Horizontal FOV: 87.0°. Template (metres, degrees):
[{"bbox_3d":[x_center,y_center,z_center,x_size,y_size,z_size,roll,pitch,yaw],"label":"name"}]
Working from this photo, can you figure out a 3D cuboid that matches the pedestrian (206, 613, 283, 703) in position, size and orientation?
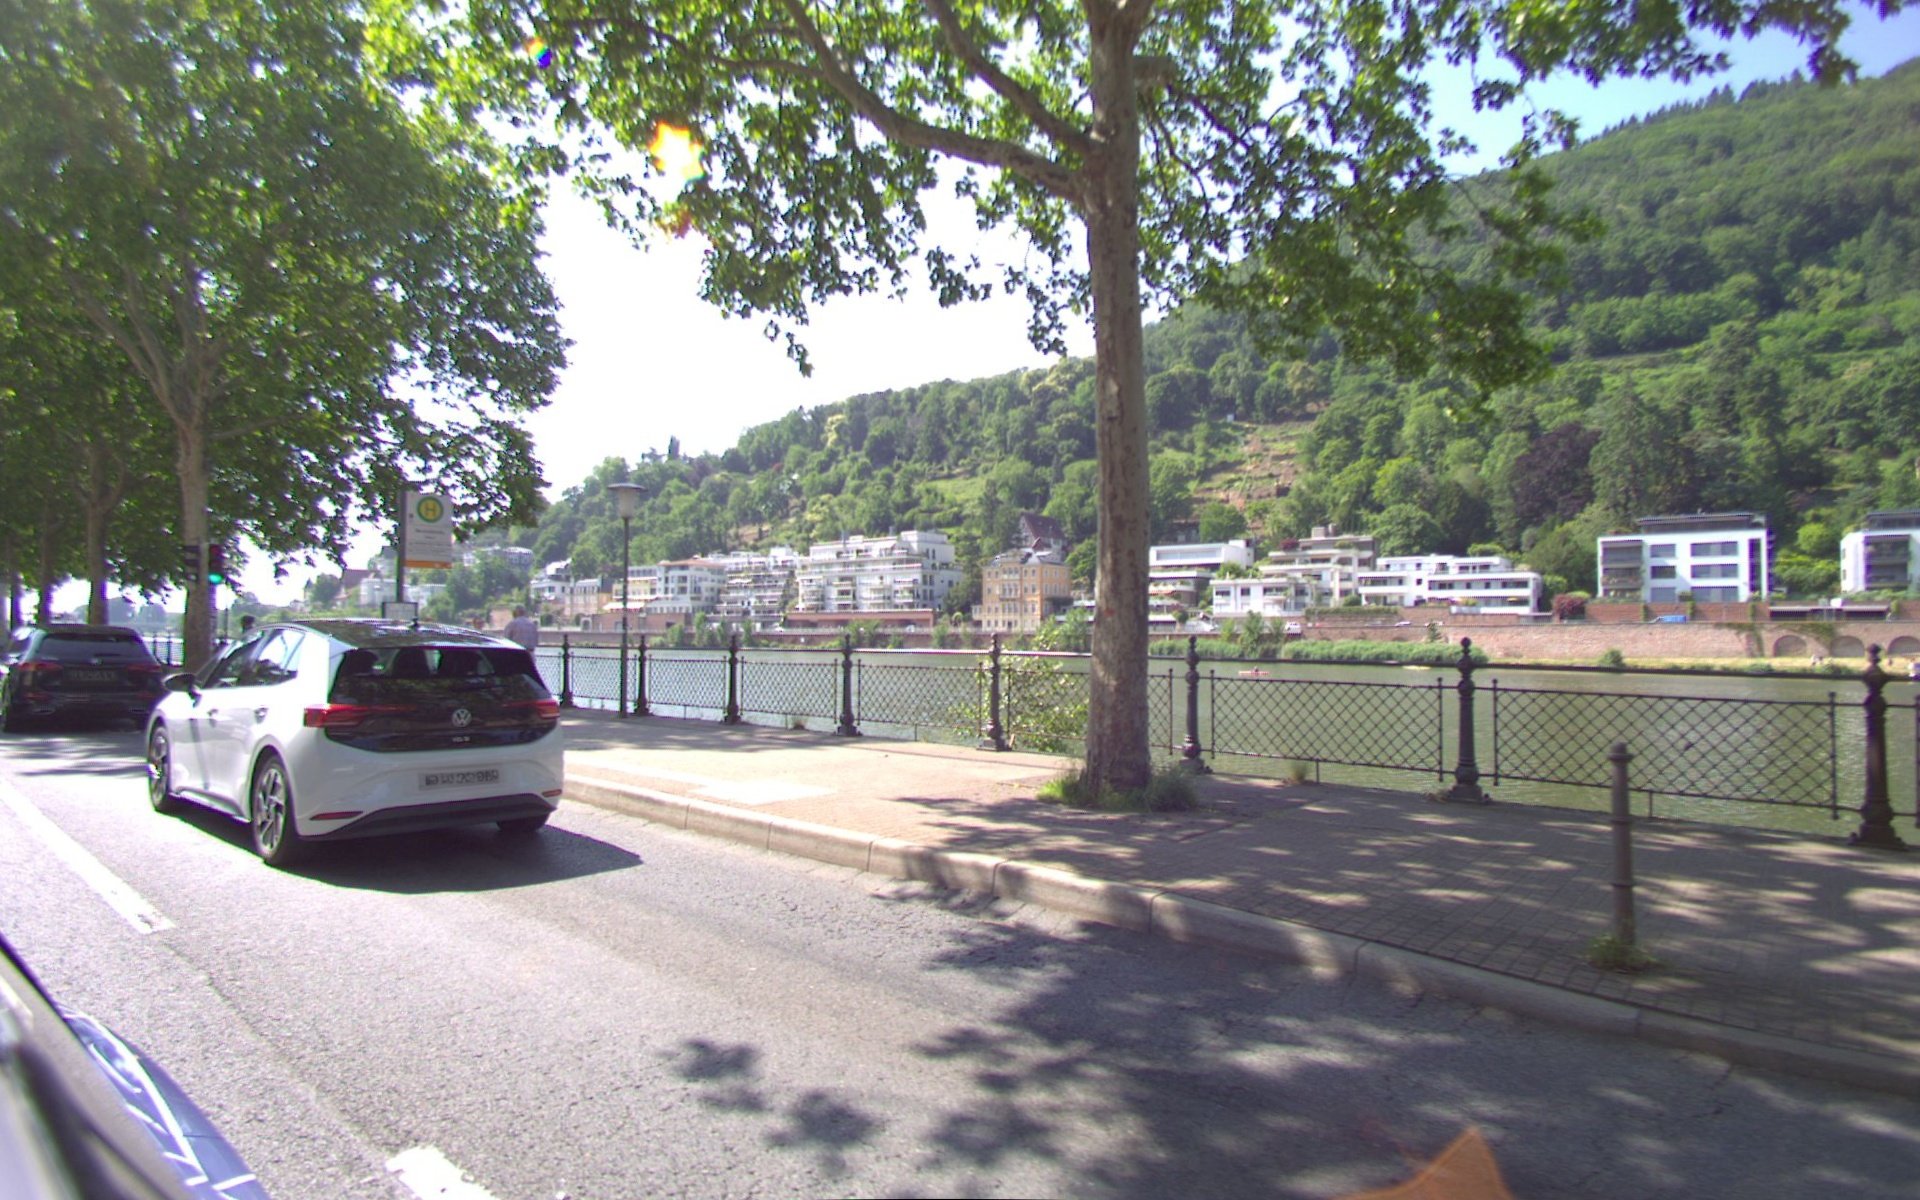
[{"bbox_3d":[-14.437,1.158,20.437,1.008,1.786,0.770,0,-1,-9],"label":"pedestrian"}]

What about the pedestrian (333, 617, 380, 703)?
[{"bbox_3d":[-11.733,1.140,19.674,0.991,1.630,0.488,-1,-2,41],"label":"pedestrian"}]

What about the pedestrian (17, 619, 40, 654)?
[{"bbox_3d":[-46.785,1.822,50.810,0.729,1.743,0.750,-1,-2,40],"label":"pedestrian"}]

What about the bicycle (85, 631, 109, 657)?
[{"bbox_3d":[-39.445,1.994,46.242,1.843,1.161,0.557,-1,0,41],"label":"bicycle"}]

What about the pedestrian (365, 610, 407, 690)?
[{"bbox_3d":[-12.578,1.075,22.178,0.695,1.713,0.612,-1,-1,40],"label":"pedestrian"}]

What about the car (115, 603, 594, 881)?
[{"bbox_3d":[-4.758,0.851,7.674,4.401,1.529,1.717,-1,-4,40],"label":"car"}]

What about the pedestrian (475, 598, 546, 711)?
[{"bbox_3d":[-7.338,0.867,16.511,0.971,1.777,0.704,-1,-2,40],"label":"pedestrian"}]

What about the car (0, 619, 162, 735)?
[{"bbox_3d":[-13.807,1.097,15.535,4.404,1.529,1.683,-1,-4,42],"label":"car"}]

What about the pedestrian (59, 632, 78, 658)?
[{"bbox_3d":[-45.068,2.269,51.146,0.552,1.330,0.625,-1,-3,40],"label":"pedestrian"}]

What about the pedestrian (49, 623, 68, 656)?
[{"bbox_3d":[-45.275,1.966,50.835,0.552,1.640,0.625,-1,-2,40],"label":"pedestrian"}]

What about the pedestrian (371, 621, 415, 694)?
[{"bbox_3d":[-12.983,1.300,23.169,0.910,1.620,0.544,-1,1,41],"label":"pedestrian"}]

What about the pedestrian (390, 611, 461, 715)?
[{"bbox_3d":[-9.166,1.052,17.353,0.782,1.726,0.827,-1,-2,40],"label":"pedestrian"}]

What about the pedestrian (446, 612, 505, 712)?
[{"bbox_3d":[-8.667,1.094,18.098,0.792,1.727,0.646,-1,-3,40],"label":"pedestrian"}]

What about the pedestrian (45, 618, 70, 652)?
[{"bbox_3d":[-45.419,1.763,50.952,0.709,1.696,0.783,-2,-4,40],"label":"pedestrian"}]

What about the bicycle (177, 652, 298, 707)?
[{"bbox_3d":[-14.492,1.584,20.339,1.801,0.932,0.744,-3,0,-9],"label":"bicycle"}]
